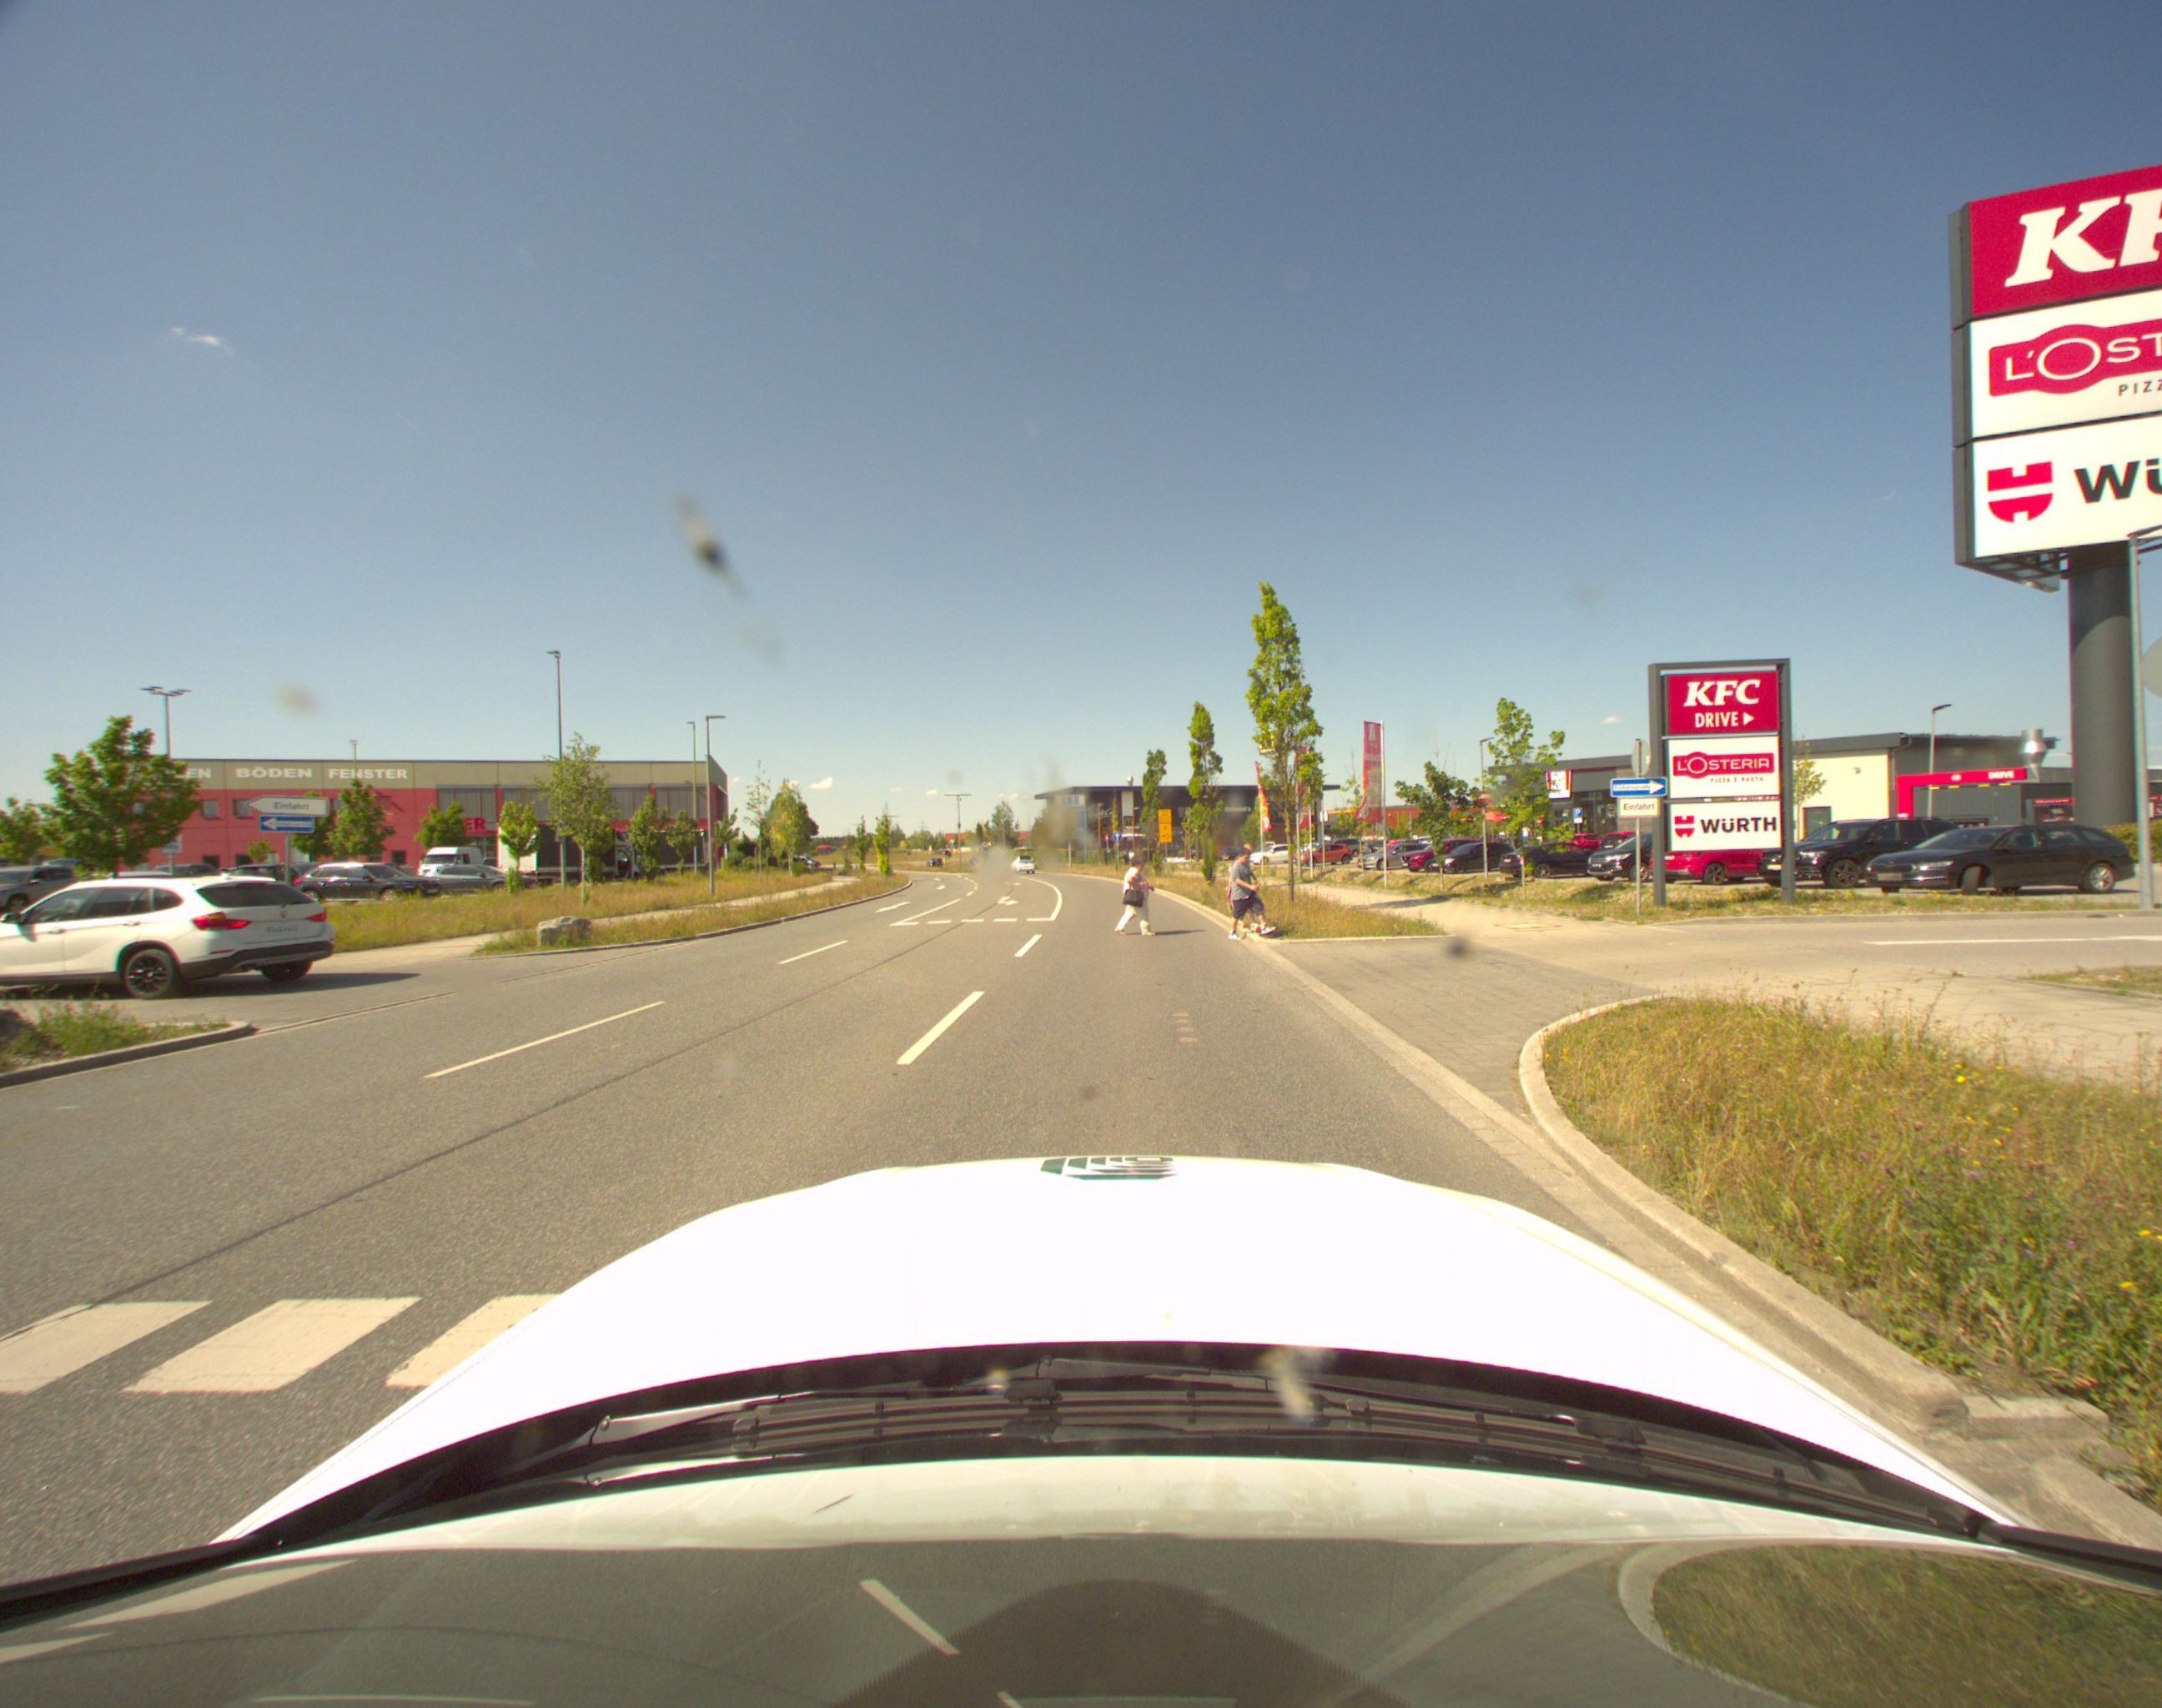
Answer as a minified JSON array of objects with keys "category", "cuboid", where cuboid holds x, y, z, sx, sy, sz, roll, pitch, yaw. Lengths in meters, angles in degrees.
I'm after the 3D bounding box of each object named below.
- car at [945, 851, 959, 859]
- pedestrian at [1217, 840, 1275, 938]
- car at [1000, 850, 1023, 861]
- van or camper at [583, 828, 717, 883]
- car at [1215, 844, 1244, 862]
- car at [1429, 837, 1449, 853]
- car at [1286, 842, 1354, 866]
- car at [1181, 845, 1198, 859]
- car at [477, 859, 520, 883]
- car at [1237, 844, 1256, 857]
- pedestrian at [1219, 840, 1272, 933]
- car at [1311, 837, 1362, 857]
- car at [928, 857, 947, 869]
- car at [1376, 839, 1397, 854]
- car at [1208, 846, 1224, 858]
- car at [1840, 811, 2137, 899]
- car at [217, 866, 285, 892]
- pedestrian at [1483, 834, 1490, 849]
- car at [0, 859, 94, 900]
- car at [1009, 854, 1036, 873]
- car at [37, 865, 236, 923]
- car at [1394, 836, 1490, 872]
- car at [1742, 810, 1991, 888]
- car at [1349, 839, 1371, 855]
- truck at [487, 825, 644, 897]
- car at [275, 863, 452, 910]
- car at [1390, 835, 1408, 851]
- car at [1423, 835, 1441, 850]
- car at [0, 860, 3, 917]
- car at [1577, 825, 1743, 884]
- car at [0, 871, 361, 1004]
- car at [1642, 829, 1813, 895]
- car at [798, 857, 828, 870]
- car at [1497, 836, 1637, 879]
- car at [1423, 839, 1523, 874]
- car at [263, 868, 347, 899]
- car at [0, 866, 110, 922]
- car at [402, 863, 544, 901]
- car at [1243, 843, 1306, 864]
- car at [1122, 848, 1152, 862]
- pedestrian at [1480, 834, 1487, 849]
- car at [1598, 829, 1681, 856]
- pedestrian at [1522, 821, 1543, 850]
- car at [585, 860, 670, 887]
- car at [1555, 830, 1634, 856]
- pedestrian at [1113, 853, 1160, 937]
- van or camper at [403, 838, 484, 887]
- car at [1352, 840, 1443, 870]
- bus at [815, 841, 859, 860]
[{"category":"car","cuboid":[-23.478,0.140,148.288,1.999,1.440,3.975,-2,1,-18]},{"category":"pedestrian","cuboid":[2.831,0.586,14.031,0.806,1.628,0.866,-1,0,1]},{"category":"car","cuboid":[-12.534,0.265,147.141,3.970,2.013,1.836,-2,0,3]},{"category":"van or camper","cuboid":[-29.701,0.091,56.479,7.706,3.468,2.542,-2,0,-15]},{"category":"car","cuboid":[13.638,-0.120,74.676,1.682,1.462,4.192,-2,0,23]},{"category":"car","cuboid":[36.674,-0.939,83.445,1.770,1.451,4.192,-2,0,23]},{"category":"car","cuboid":[16.666,-0.003,56.837,4.210,1.490,1.860,-3,1,-14]},{"category":"car","cuboid":[13.206,-0.264,98.860,1.781,1.604,4.012,-2,0,10]},{"category":"car","cuboid":[-42.959,1.216,60.131,1.668,1.671,4.053,-2,0,-22]},{"category":"car","cuboid":[20.487,-0.423,100.755,1.778,1.513,4.020,-2,0,20]},{"category":"pedestrian","cuboid":[2.998,0.578,14.884,0.798,1.629,0.805,-1,0,1]},{"category":"car","cuboid":[22.981,-0.646,73.278,4.172,1.635,1.778,-2,0,-22]},{"category":"car","cuboid":[-17.645,1.061,100.148,1.622,1.434,3.767,-2,0,-20]},{"category":"car","cuboid":[30.249,-0.770,80.667,1.770,1.451,4.192,-2,0,23]},{"category":"car","cuboid":[16.507,-0.273,99.374,1.781,1.434,4.012,-2,0,10]},{"category":"car","cuboid":[19.233,-0.004,17.395,4.398,1.566,1.992,-3,1,-5]},{"category":"car","cuboid":[-55.599,1.651,54.612,1.668,1.614,4.053,-2,0,-22]},{"category":"pedestrian","cuboid":[33.657,-1.024,67.647,0.381,1.240,0.290,-2,0,-22]},{"category":"car","cuboid":[-53.176,1.266,41.442,1.839,1.994,4.350,-2,0,-21]},{"category":"car","cuboid":[-4.731,0.715,65.567,1.618,1.434,3.777,-2,0,-12]},{"category":"car","cuboid":[-27.526,1.164,23.776,4.574,1.512,1.845,-2,0,13]},{"category":"car","cuboid":[18.773,-0.028,42.409,4.149,1.665,1.865,-3,1,-6]},{"category":"car","cuboid":[20.606,-0.142,21.483,4.973,1.734,1.936,-3,1,-5]},{"category":"car","cuboid":[27.365,-0.695,79.771,1.770,1.451,4.192,-2,0,23]},{"category":"truck","cuboid":[-27.277,0.299,43.611,2.300,3.464,7.522,-2,0,14]},{"category":"car","cuboid":[-25.997,1.153,29.658,4.568,1.458,1.835,-2,0,-5]},{"category":"car","cuboid":[36.753,-1.241,94.009,1.770,1.757,4.192,-2,0,23]},{"category":"car","cuboid":[40.913,-1.352,95.044,1.770,1.757,4.192,-2,0,23]},{"category":"car","cuboid":[-39.517,1.266,27.335,1.838,2.064,4.354,-2,0,-19]},{"category":"car","cuboid":[19.538,-0.013,27.592,4.395,1.734,1.790,-3,1,-3]},{"category":"car","cuboid":[-12.922,1.098,11.260,4.197,1.547,1.918,-2,0,1]},{"category":"car","cuboid":[19.623,0.204,24.766,4.414,1.734,1.782,-3,1,-15]},{"category":"car","cuboid":[-38.985,1.384,118.406,4.369,1.794,1.970,-2,1,40]},{"category":"car","cuboid":[19.059,0.128,32.111,4.383,1.449,1.794,-3,1,6]},{"category":"car","cuboid":[19.201,0.098,39.933,4.157,1.449,1.784,-3,1,-12]},{"category":"car","cuboid":[-43.124,1.590,45.391,1.839,1.562,4.350,-2,0,-21]},{"category":"car","cuboid":[-36.918,1.368,28.421,1.838,1.823,4.354,-2,0,-19]},{"category":"car","cuboid":[-25.938,1.169,34.890,4.416,1.383,1.972,-2,0,-5]},{"category":"car","cuboid":[15.235,-0.040,64.192,4.531,1.490,1.860,-3,1,-14]},{"category":"car","cuboid":[6.302,0.108,92.147,1.799,1.434,3.972,-2,0,-21]},{"category":"pedestrian","cuboid":[33.540,-1.023,67.927,0.381,1.240,0.290,-2,0,-22]},{"category":"car","cuboid":[33.338,-0.689,48.606,4.572,1.431,1.856,-3,1,-21]},{"category":"pedestrian","cuboid":[32.527,-1.309,58.712,0.915,2.013,0.886,-2,0,-17]},{"category":"car","cuboid":[-28.961,1.219,52.173,4.377,1.552,1.828,-2,0,-16]},{"category":"car","cuboid":[32.297,-0.678,51.223,4.572,1.431,1.856,-3,1,-21]},{"category":"pedestrian","cuboid":[1.002,0.718,14.884,0.790,1.470,0.949,-1,0,1]},{"category":"van or camper","cuboid":[-45.828,0.579,58.819,2.438,3.271,7.186,-2,0,-20]},{"category":"car","cuboid":[18.250,0.021,47.038,4.555,1.490,1.862,-3,1,-10]},{"category":"bus","cuboid":[-47.383,-0.803,158.782,2.769,3.078,12.243,-2,2,11]}]
